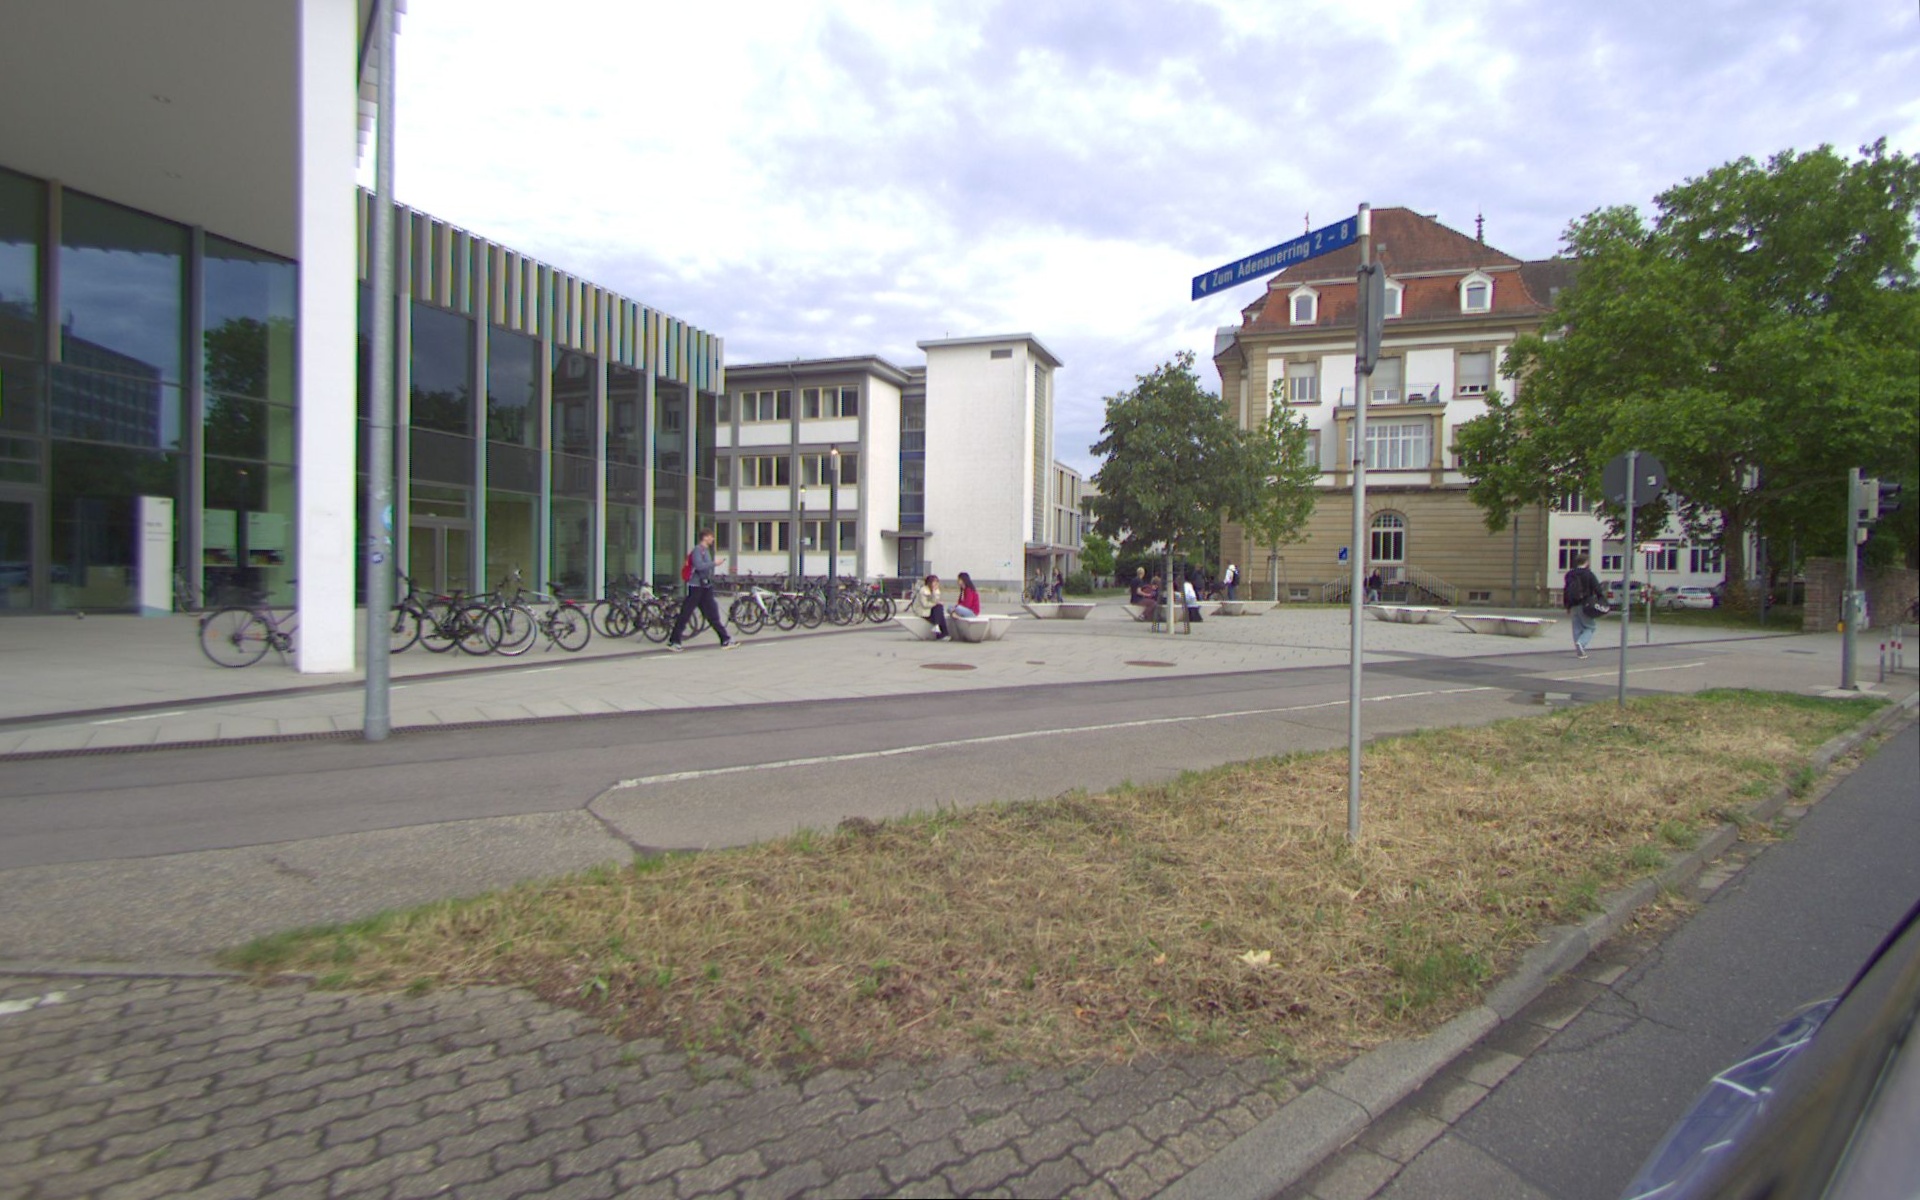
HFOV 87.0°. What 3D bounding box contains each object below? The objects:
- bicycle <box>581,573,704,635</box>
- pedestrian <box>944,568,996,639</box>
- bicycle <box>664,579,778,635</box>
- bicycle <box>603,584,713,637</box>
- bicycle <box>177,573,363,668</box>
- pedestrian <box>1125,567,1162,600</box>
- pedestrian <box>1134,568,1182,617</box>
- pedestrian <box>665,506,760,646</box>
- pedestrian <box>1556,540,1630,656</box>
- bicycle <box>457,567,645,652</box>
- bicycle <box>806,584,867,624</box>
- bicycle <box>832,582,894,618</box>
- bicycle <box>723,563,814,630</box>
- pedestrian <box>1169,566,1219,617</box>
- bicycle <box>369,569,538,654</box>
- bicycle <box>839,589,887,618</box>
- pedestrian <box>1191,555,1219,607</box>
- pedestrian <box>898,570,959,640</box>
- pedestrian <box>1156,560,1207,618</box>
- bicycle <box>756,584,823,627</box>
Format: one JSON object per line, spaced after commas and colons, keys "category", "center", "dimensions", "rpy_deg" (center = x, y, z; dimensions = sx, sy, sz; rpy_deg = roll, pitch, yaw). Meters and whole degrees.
{"category": "bicycle", "center": [-5.536, 0.056, 17.667], "dimensions": [1.930, 1.014, 0.772], "rpy_deg": [1, 1, 13]}
{"category": "pedestrian", "center": [0.163, 0.052, 18.064], "dimensions": [0.877, 1.221, 0.846], "rpy_deg": [0, 1, -2]}
{"category": "bicycle", "center": [-4.709, 0.122, 19.910], "dimensions": [2.168, 1.018, 0.775], "rpy_deg": [1, 1, 25]}
{"category": "bicycle", "center": [-5.502, 0.187, 18.485], "dimensions": [1.813, 0.910, 0.671], "rpy_deg": [1, 1, 6]}
{"category": "bicycle", "center": [-8.239, 0.228, 12.178], "dimensions": [1.804, 1.075, 0.641], "rpy_deg": [0, -1, -32]}
{"category": "pedestrian", "center": [4.703, -0.432, 25.939], "dimensions": [0.718, 0.833, 0.638], "rpy_deg": [0, 2, -21]}
{"category": "pedestrian", "center": [5.277, -0.203, 26.997], "dimensions": [0.861, 1.273, 0.912], "rpy_deg": [0, -1, -33]}
{"category": "pedestrian", "center": [-3.917, -0.360, 15.966], "dimensions": [1.113, 2.088, 1.185], "rpy_deg": [0, -1, -33]}
{"category": "pedestrian", "center": [11.569, -0.050, 18.509], "dimensions": [0.877, 2.039, 0.845], "rpy_deg": [0, 1, -35]}
{"category": "bicycle", "center": [-6.159, 0.119, 15.259], "dimensions": [2.678, 1.202, 0.772], "rpy_deg": [1, 1, 13]}
{"category": "bicycle", "center": [-2.964, 0.093, 24.315], "dimensions": [1.335, 0.910, 0.541], "rpy_deg": [1, 1, 10]}
{"category": "bicycle", "center": [-2.524, -0.013, 26.440], "dimensions": [1.526, 0.910, 0.508], "rpy_deg": [1, 1, 10]}
{"category": "bicycle", "center": [-4.130, -0.093, 21.792], "dimensions": [1.994, 1.322, 0.638], "rpy_deg": [3, 1, 33]}
{"category": "pedestrian", "center": [6.045, -0.213, 26.122], "dimensions": [0.861, 1.273, 0.912], "rpy_deg": [0, -1, -33]}
{"category": "bicycle", "center": [-7.107, 0.137, 14.220], "dimensions": [2.149, 1.129, 0.734], "rpy_deg": [1, 1, 12]}
{"category": "bicycle", "center": [-2.550, 0.095, 26.682], "dimensions": [1.167, 0.700, 0.489], "rpy_deg": [2, 1, 10]}
{"category": "pedestrian", "center": [9.097, -0.702, 37.620], "dimensions": [0.733, 1.909, 0.878], "rpy_deg": [1, 1, 35]}
{"category": "pedestrian", "center": [-0.569, 0.068, 18.082], "dimensions": [0.827, 1.208, 0.896], "rpy_deg": [0, 1, -22]}
{"category": "pedestrian", "center": [5.472, -0.260, 25.025], "dimensions": [0.909, 1.384, 0.865], "rpy_deg": [-1, -1, 44]}
{"category": "bicycle", "center": [-3.837, 0.117, 22.761], "dimensions": [1.449, 0.910, 0.393], "rpy_deg": [1, 1, 10]}
